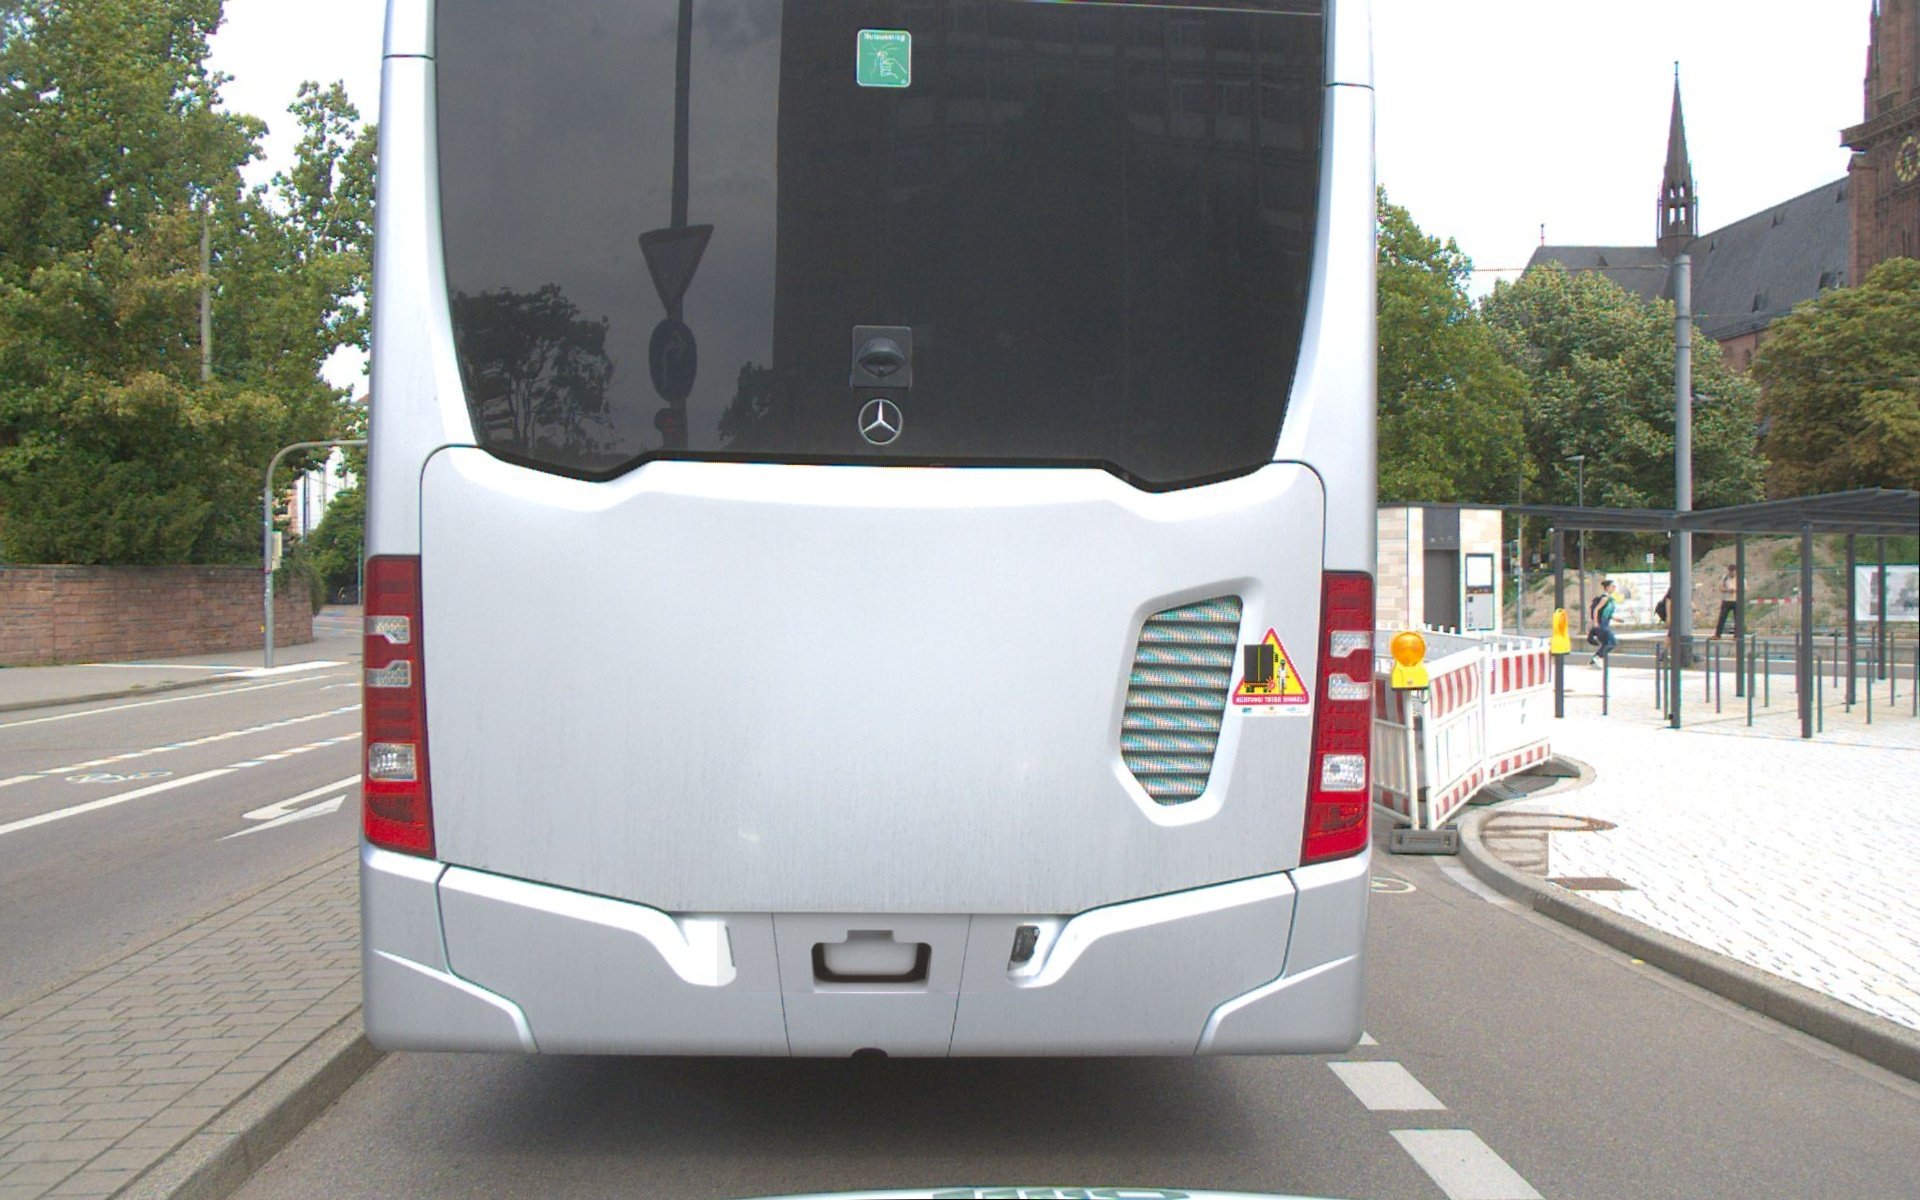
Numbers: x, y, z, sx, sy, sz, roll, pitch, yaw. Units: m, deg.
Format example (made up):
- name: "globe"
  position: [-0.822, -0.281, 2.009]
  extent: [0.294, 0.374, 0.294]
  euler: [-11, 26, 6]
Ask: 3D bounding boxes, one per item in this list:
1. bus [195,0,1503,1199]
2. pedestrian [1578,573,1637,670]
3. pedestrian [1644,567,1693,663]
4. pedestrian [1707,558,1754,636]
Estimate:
- name: "bus"
  position: [-0.258, -0.343, 10.456]
  extent: [2.649, 3.498, 14.182]
  euler: [0, 0, 0]
- name: "pedestrian"
  position: [11.299, 0.361, 28.859]
  extent: [0.533, 1.631, 0.787]
  euler: [-2, 3, -38]
- name: "pedestrian"
  position: [12.734, 0.258, 29.722]
  extent: [0.526, 1.683, 0.621]
  euler: [-2, 3, -38]
- name: "pedestrian"
  position: [18.459, -0.084, 39.636]
  extent: [0.803, 1.832, 0.753]
  euler: [0, 3, 9]
